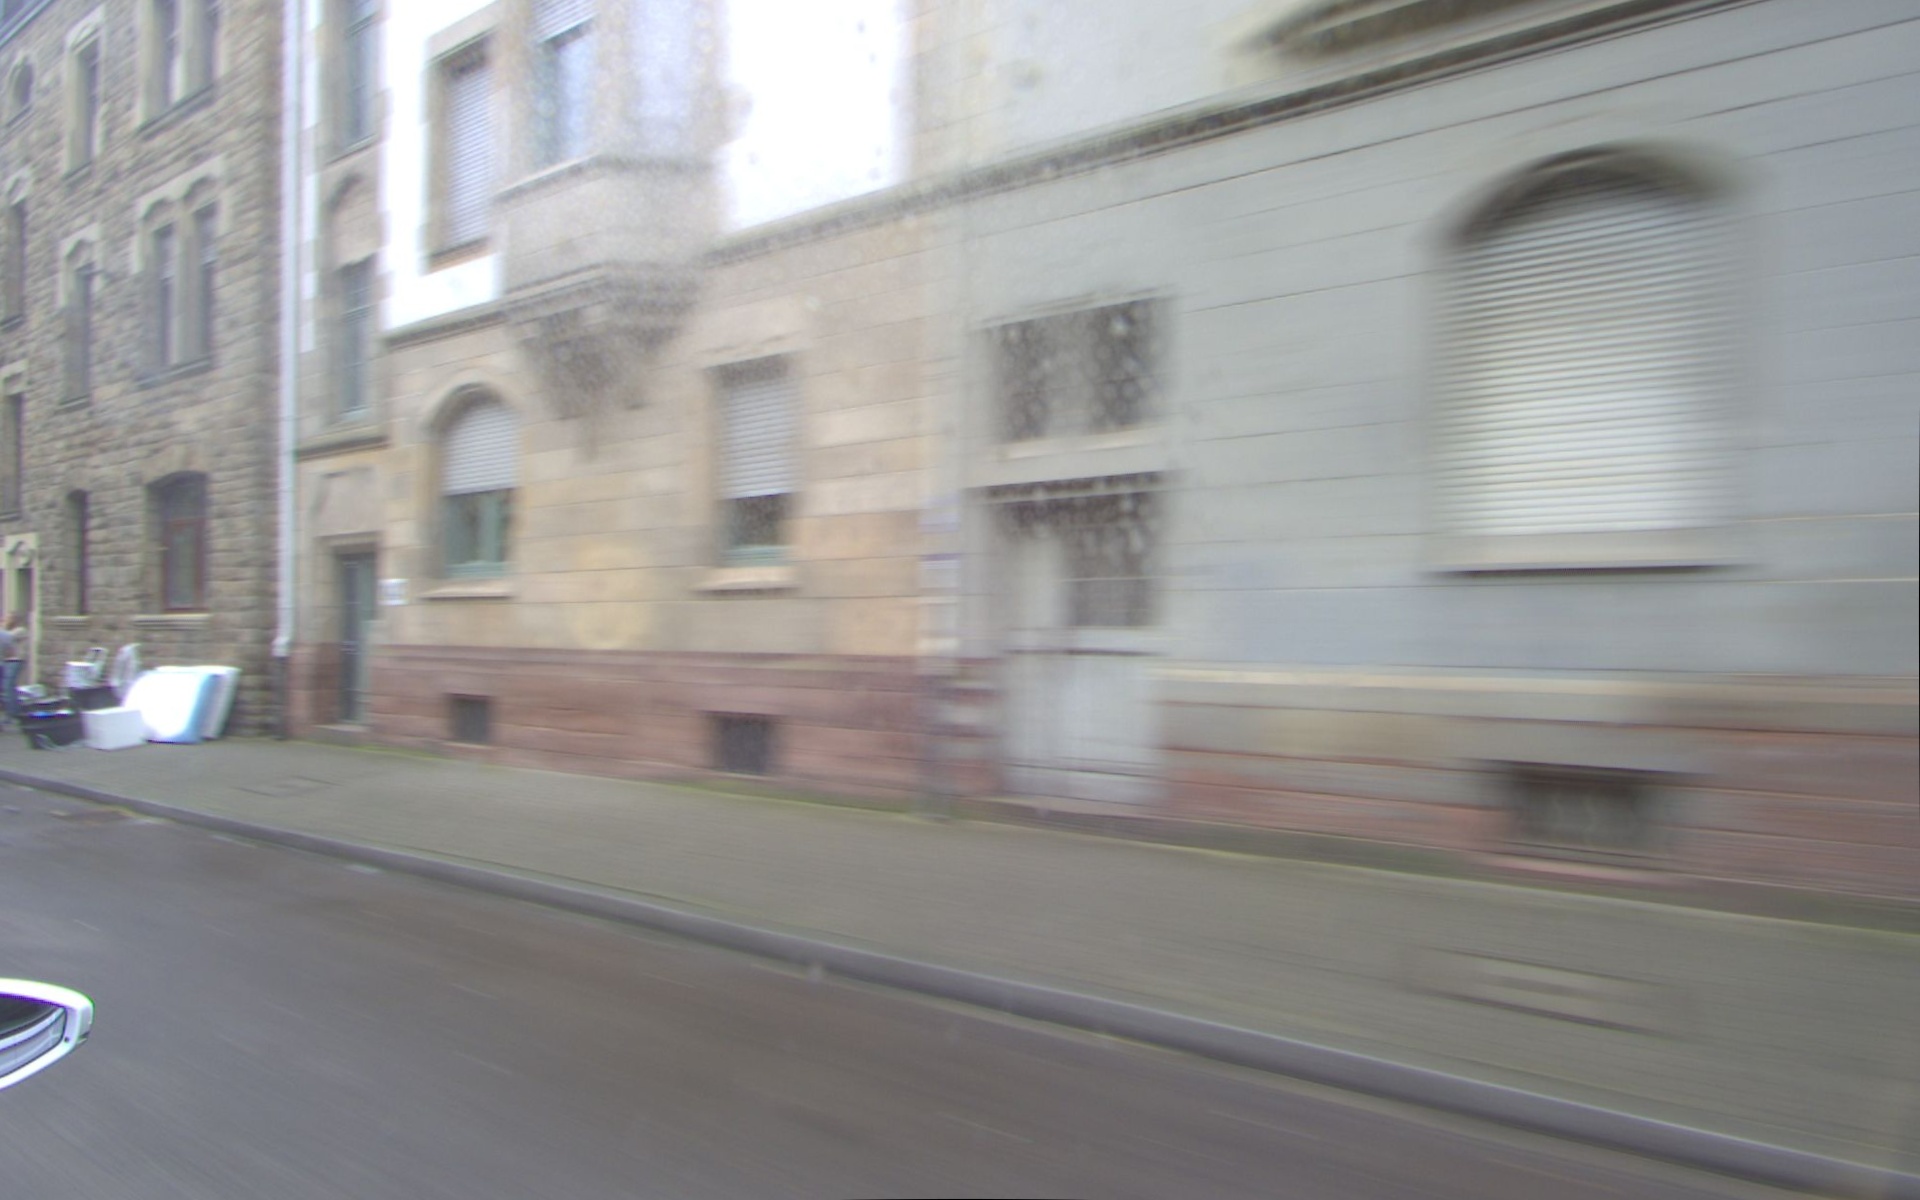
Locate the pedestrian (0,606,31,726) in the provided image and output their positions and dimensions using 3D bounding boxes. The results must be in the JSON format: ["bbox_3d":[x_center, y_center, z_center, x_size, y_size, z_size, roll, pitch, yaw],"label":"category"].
[{"bbox_3d":[-14.001,0.944,14.448,0.483,1.723,0.704,0,1,4],"label":"pedestrian"}]

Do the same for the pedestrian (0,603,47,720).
[{"bbox_3d":[-14.433,0.926,15.287,0.571,1.740,0.508,0,1,22],"label":"pedestrian"}]
